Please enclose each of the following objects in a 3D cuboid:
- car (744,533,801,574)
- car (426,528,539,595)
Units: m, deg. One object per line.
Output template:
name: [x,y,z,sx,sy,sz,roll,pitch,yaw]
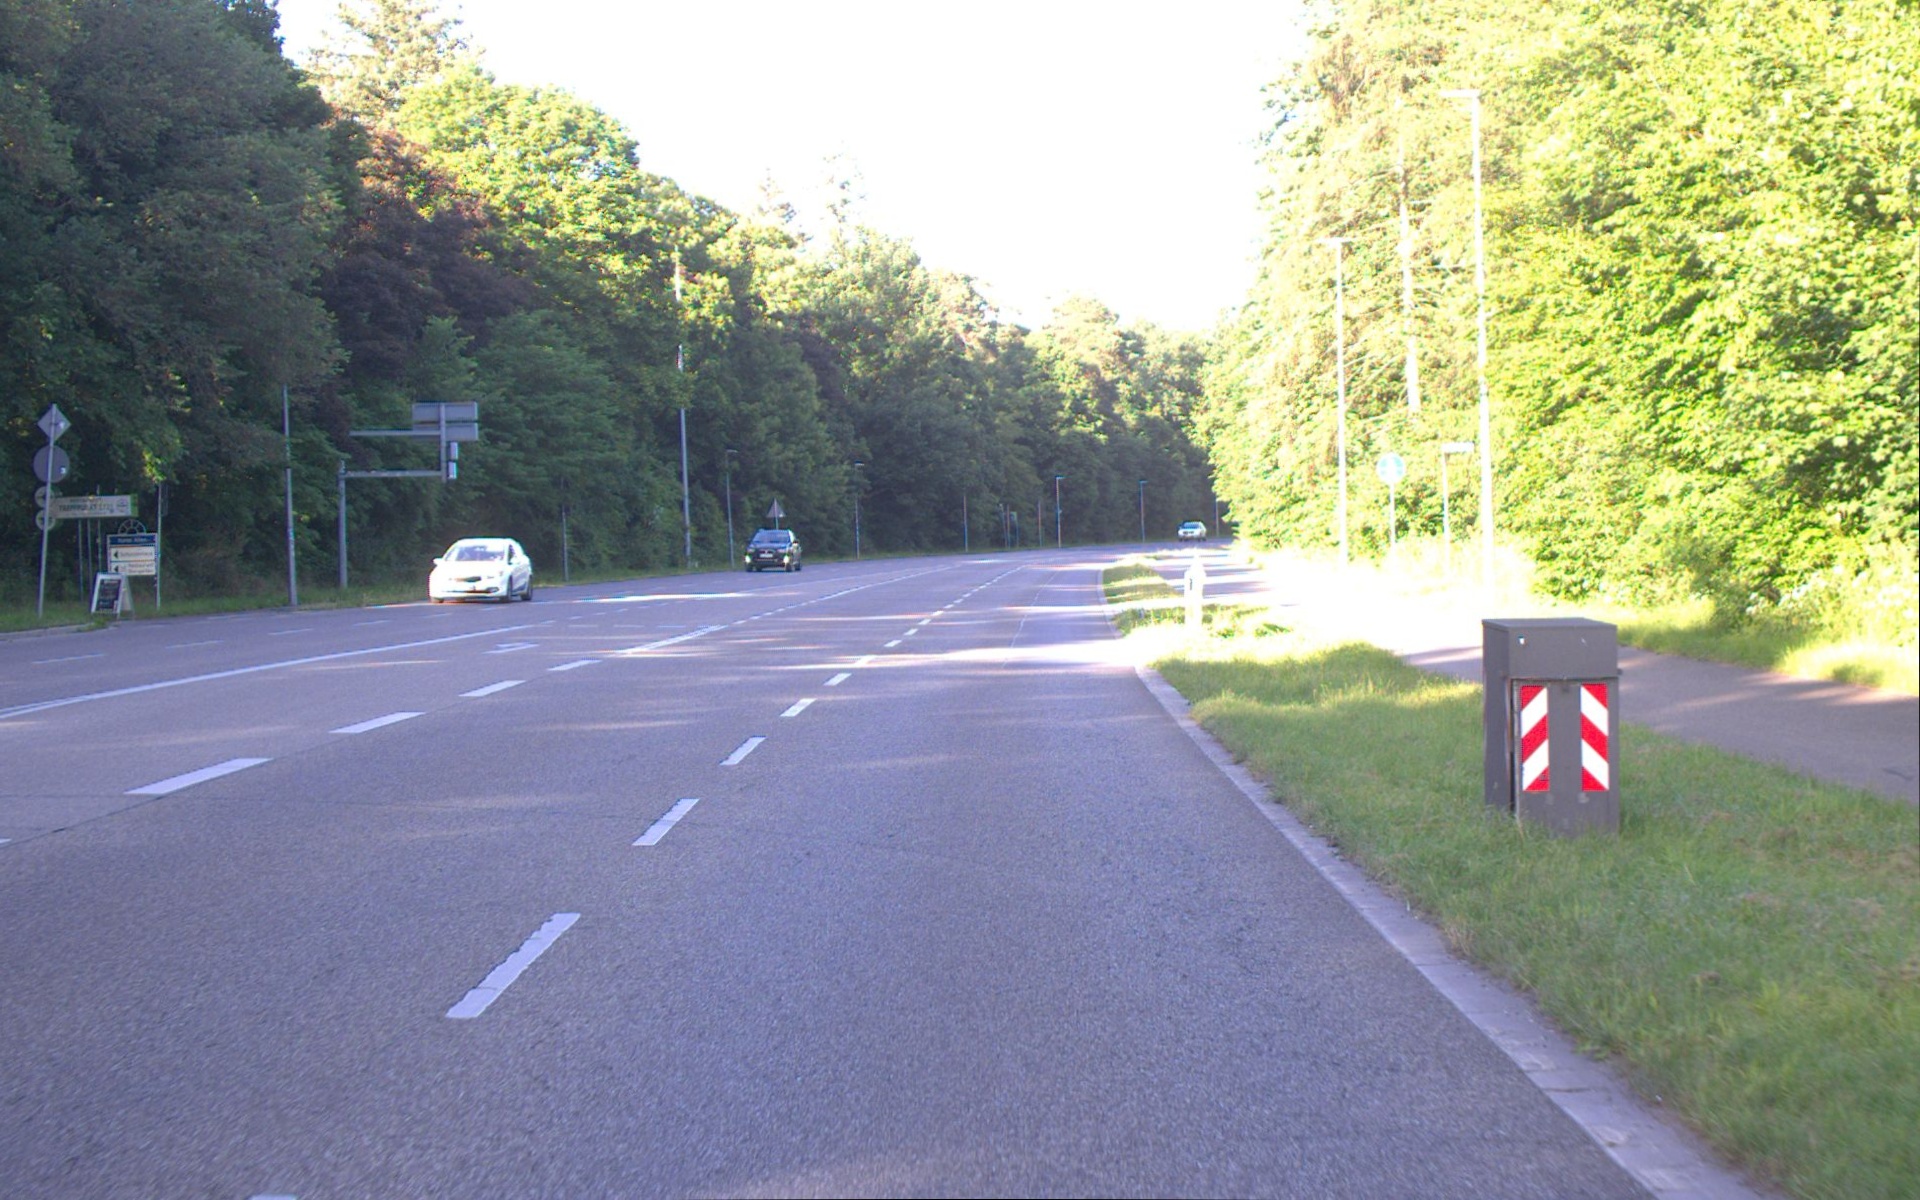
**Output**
car: [-7.279,-1.822,133.705,1.825,1.584,4.351,0,1,2]
car: [-10.961,-0.903,79.171,1.825,1.499,4.306,0,1,2]
